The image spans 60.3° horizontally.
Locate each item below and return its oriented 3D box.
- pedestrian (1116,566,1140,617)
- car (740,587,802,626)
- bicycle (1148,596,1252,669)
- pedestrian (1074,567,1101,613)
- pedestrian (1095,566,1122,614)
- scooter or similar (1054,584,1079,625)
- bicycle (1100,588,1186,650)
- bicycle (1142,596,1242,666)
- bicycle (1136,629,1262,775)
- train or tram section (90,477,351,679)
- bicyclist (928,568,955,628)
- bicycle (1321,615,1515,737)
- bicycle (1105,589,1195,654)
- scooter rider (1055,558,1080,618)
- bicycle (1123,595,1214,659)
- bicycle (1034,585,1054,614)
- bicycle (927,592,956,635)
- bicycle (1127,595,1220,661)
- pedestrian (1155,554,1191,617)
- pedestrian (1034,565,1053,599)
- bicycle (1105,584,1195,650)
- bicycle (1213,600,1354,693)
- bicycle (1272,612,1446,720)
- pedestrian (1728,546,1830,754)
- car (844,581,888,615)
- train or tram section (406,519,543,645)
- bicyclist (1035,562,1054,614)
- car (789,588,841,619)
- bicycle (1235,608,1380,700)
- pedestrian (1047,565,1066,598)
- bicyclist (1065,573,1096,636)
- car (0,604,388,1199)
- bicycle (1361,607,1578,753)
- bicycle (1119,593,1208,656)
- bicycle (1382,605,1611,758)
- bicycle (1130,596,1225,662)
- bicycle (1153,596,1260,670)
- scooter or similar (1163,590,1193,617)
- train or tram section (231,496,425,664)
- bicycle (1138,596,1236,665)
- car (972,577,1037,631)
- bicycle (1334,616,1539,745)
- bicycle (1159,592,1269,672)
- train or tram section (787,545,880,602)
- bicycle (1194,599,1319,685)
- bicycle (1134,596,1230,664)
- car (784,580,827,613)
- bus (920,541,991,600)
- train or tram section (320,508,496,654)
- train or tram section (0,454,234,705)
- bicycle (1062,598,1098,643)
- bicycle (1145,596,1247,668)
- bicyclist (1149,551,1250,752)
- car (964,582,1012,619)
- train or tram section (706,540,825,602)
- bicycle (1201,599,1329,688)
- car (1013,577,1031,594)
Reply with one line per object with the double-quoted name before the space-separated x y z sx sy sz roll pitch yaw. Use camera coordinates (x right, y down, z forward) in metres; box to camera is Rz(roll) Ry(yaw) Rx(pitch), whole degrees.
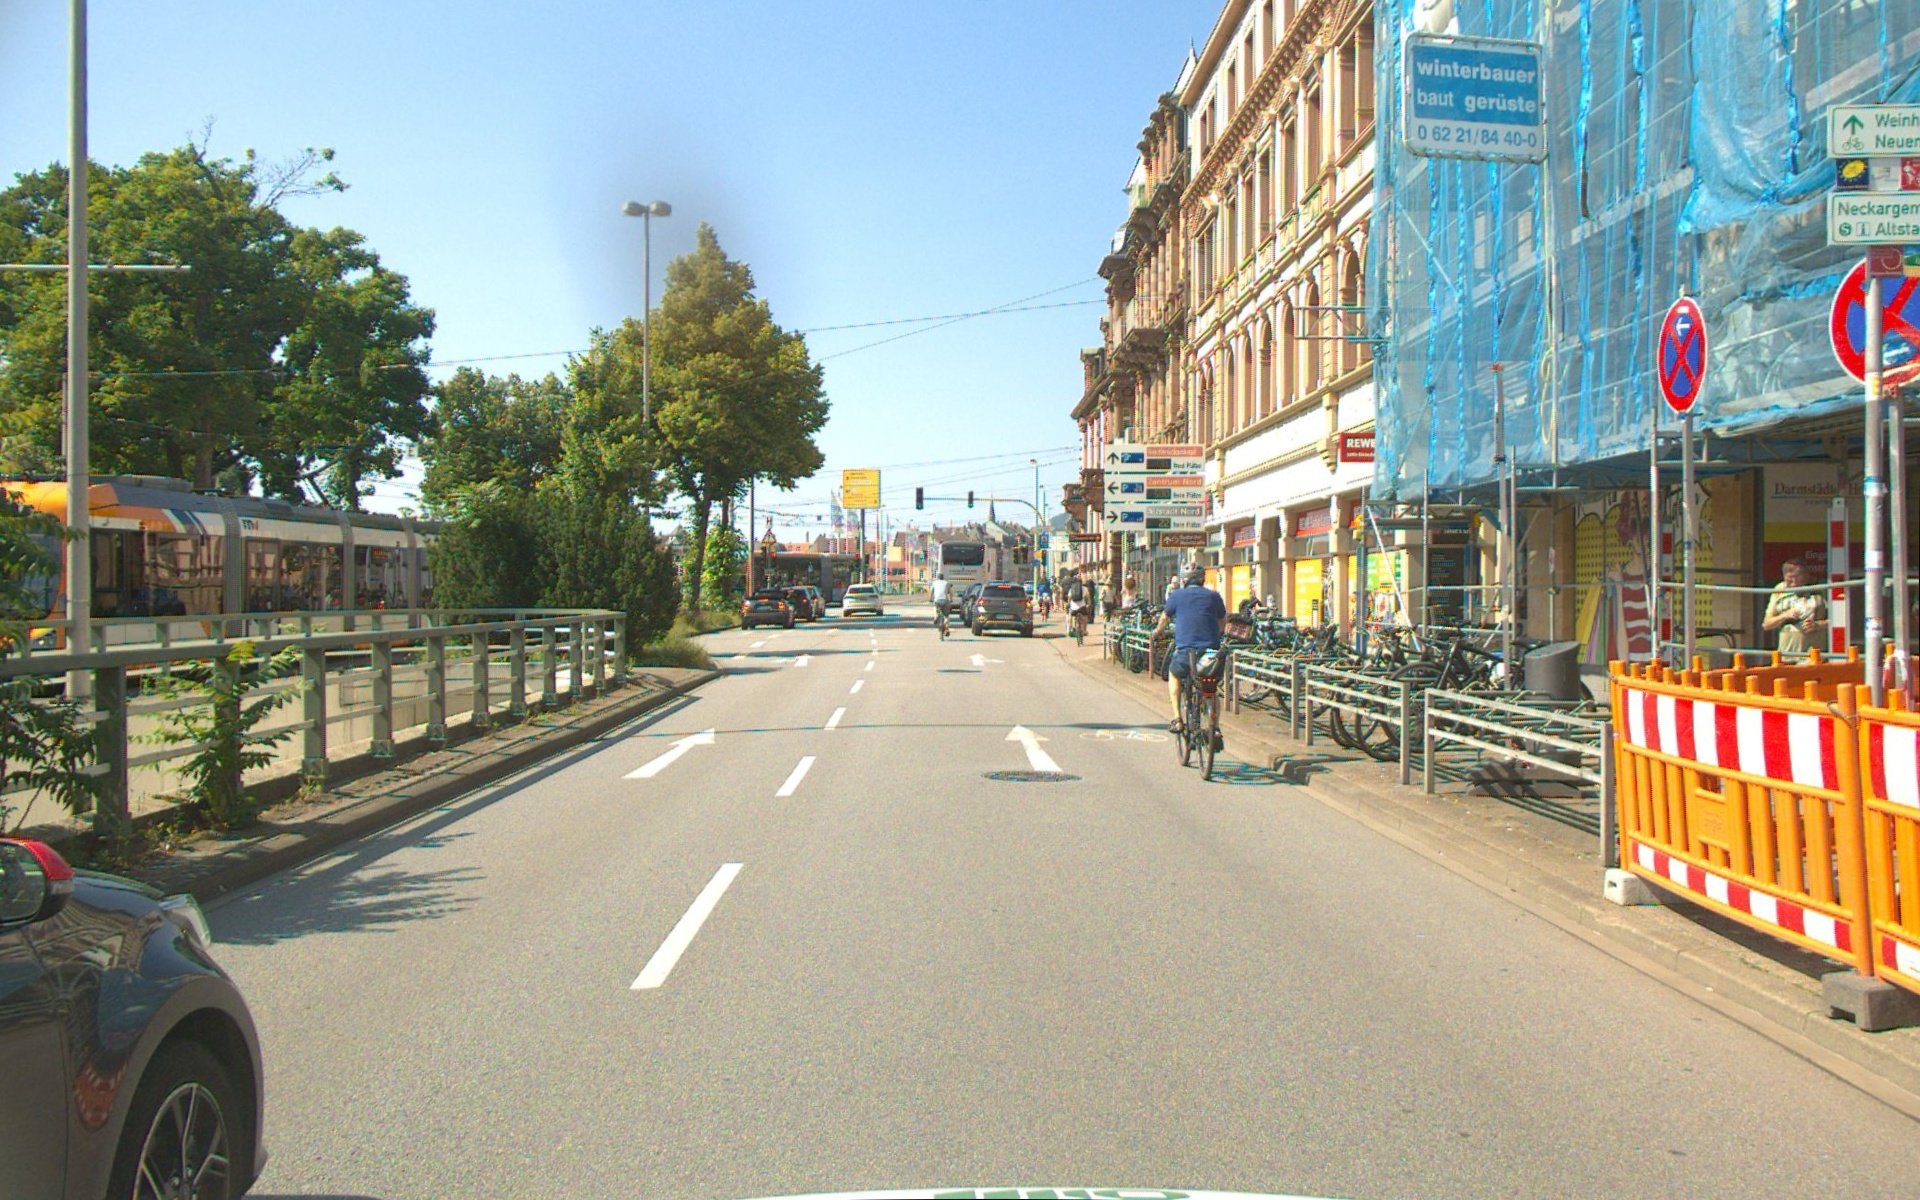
"pedestrian" 5.569 -0.297 54.787 0.641 1.649 0.815 -2 1 -3
"car" -6.805 0.210 59.838 1.778 1.355 4.000 1 0 0
"bicycle" 3.989 0.540 27.521 1.659 1.199 0.490 0 0 -1
"pedestrian" 4.676 -0.372 60.523 0.845 1.668 0.875 -1 0 -3
"pedestrian" 5.277 -0.351 58.848 0.845 1.668 0.875 -1 0 -3
"scooter or similar" 3.151 0.128 48.872 0.674 1.188 1.464 1 0 1
"bicycle" 3.720 0.377 33.684 1.659 1.199 0.608 -1 1 -1
"bicycle" 3.994 0.533 28.564 1.659 1.199 0.463 0 0 -1
"bicycle" 2.017 0.836 14.208 0.719 1.112 1.910 1 0 -2
"train or tram section" -14.615 -0.422 33.218 2.560 3.643 6.102 1 0 -1
"bicyclist" -0.511 -0.058 45.031 0.674 1.604 1.049 1 0 -3
"bicycle" 4.276 0.701 15.501 1.659 1.116 0.608 0 0 -1
"bicycle" 3.711 0.413 32.397 1.659 1.199 0.608 -2 1 -1
"scooter rider" 3.174 -0.357 48.908 0.674 1.759 0.778 1 0 1
"bicycle" 3.947 0.514 31.341 1.659 1.199 0.469 0 0 -1
"bicycle" 3.258 -0.029 63.899 0.719 1.112 1.898 1 0 2
"bicycle" -0.509 0.354 45.114 0.719 1.112 1.897 1 0 -2
"bicycle" 3.963 0.518 30.760 1.659 1.199 0.460 0 0 -1
"pedestrian" 5.899 -0.397 45.800 0.740 1.684 0.837 -4 0 -2
"pedestrian" 4.205 -0.909 83.390 0.845 1.669 0.875 1 0 -3
"bicycle" 3.791 0.338 33.052 1.659 1.199 0.608 -3 1 -1
"bicycle" 4.232 0.605 21.723 1.735 1.199 0.608 0 0 -1
"bicycle" 4.230 0.693 17.610 1.703 1.128 0.608 0 0 -1
"pedestrian" 6.665 0.389 13.453 0.632 1.629 0.763 1 0 34
"car" -4.359 -0.100 77.064 1.820 1.533 4.000 1 0 0
"train or tram section" -15.003 -0.553 51.524 2.560 3.643 6.016 1 0 -1
"bicyclist" 3.265 -0.458 63.888 0.674 1.996 0.778 1 0 1
"car" -6.646 0.164 76.253 1.995 1.355 4.000 1 0 0
"bicycle" 4.270 0.662 20.399 1.659 1.106 0.608 0 0 -1
"pedestrian" 4.978 -0.962 85.147 0.845 1.668 0.875 -1 0 -3
"bicyclist" 3.097 0.117 42.631 0.674 1.604 1.049 1 0 -2
"car" -2.306 0.807 2.103 1.741 1.501 4.000 -2 0 -1
"bicycle" 4.306 0.665 14.032 1.659 1.199 0.608 0 0 -1
"bicycle" 3.912 0.458 31.802 1.659 1.199 0.469 0 0 -1
"bicycle" 4.308 0.642 13.346 1.659 1.199 0.608 0 0 -1
"bicycle" 3.962 0.522 30.177 1.659 1.199 0.459 0 0 -1
"bicycle" 4.007 0.535 26.948 1.659 1.199 0.497 0 0 -1
"scooter or similar" 5.950 0.099 45.180 0.677 0.661 0.565 -5 0 -2
"train or tram section" -14.713 -0.463 38.943 2.560 3.643 5.356 1 0 -1
"bicycle" 3.985 0.530 29.058 1.659 1.199 0.457 0 0 -1
"car" 1.317 0.100 50.051 1.835 1.518 4.000 -1 1 0
"bicycle" 4.253 0.709 14.823 1.659 1.116 0.608 0 0 -1
"bicycle" 4.021 0.499 26.280 1.659 1.262 0.608 0 0 -1
"train or tram section" -8.417 -1.714 111.120 2.765 3.643 8.224 1 0 23
"bicycle" 4.180 0.588 23.406 1.659 1.199 0.608 0 0 -1
"bicycle" 3.965 0.526 29.596 1.659 1.199 0.514 0 0 -1
"car" -6.414 -0.165 68.873 1.422 1.323 4.000 1 0 0
"bus" -0.315 -1.479 84.823 2.911 2.825 8.633 1 0 -5
"train or tram section" -14.848 -0.507 45.073 2.560 3.643 6.896 1 0 -1
"train or tram section" -14.501 -0.329 27.117 2.560 3.643 6.102 1 0 -1
"bicycle" 3.094 0.521 42.803 0.719 1.112 1.897 1 0 -1
"bicycle" 3.993 0.537 28.054 1.659 1.199 0.451 0 0 -1
"bicyclist" 2.026 0.424 14.082 0.674 1.644 0.918 1 0 -2
"car" 1.162 0.002 70.604 1.953 1.519 4.000 1 0 0
"train or tram section" -11.926 -1.713 102.695 2.765 3.643 10.030 1 0 23
"bicycle" 4.181 0.588 22.741 1.659 1.199 0.608 0 0 -1
"car" 7.470 -1.739 199.653 1.952 1.910 4.001 -2 1 1
